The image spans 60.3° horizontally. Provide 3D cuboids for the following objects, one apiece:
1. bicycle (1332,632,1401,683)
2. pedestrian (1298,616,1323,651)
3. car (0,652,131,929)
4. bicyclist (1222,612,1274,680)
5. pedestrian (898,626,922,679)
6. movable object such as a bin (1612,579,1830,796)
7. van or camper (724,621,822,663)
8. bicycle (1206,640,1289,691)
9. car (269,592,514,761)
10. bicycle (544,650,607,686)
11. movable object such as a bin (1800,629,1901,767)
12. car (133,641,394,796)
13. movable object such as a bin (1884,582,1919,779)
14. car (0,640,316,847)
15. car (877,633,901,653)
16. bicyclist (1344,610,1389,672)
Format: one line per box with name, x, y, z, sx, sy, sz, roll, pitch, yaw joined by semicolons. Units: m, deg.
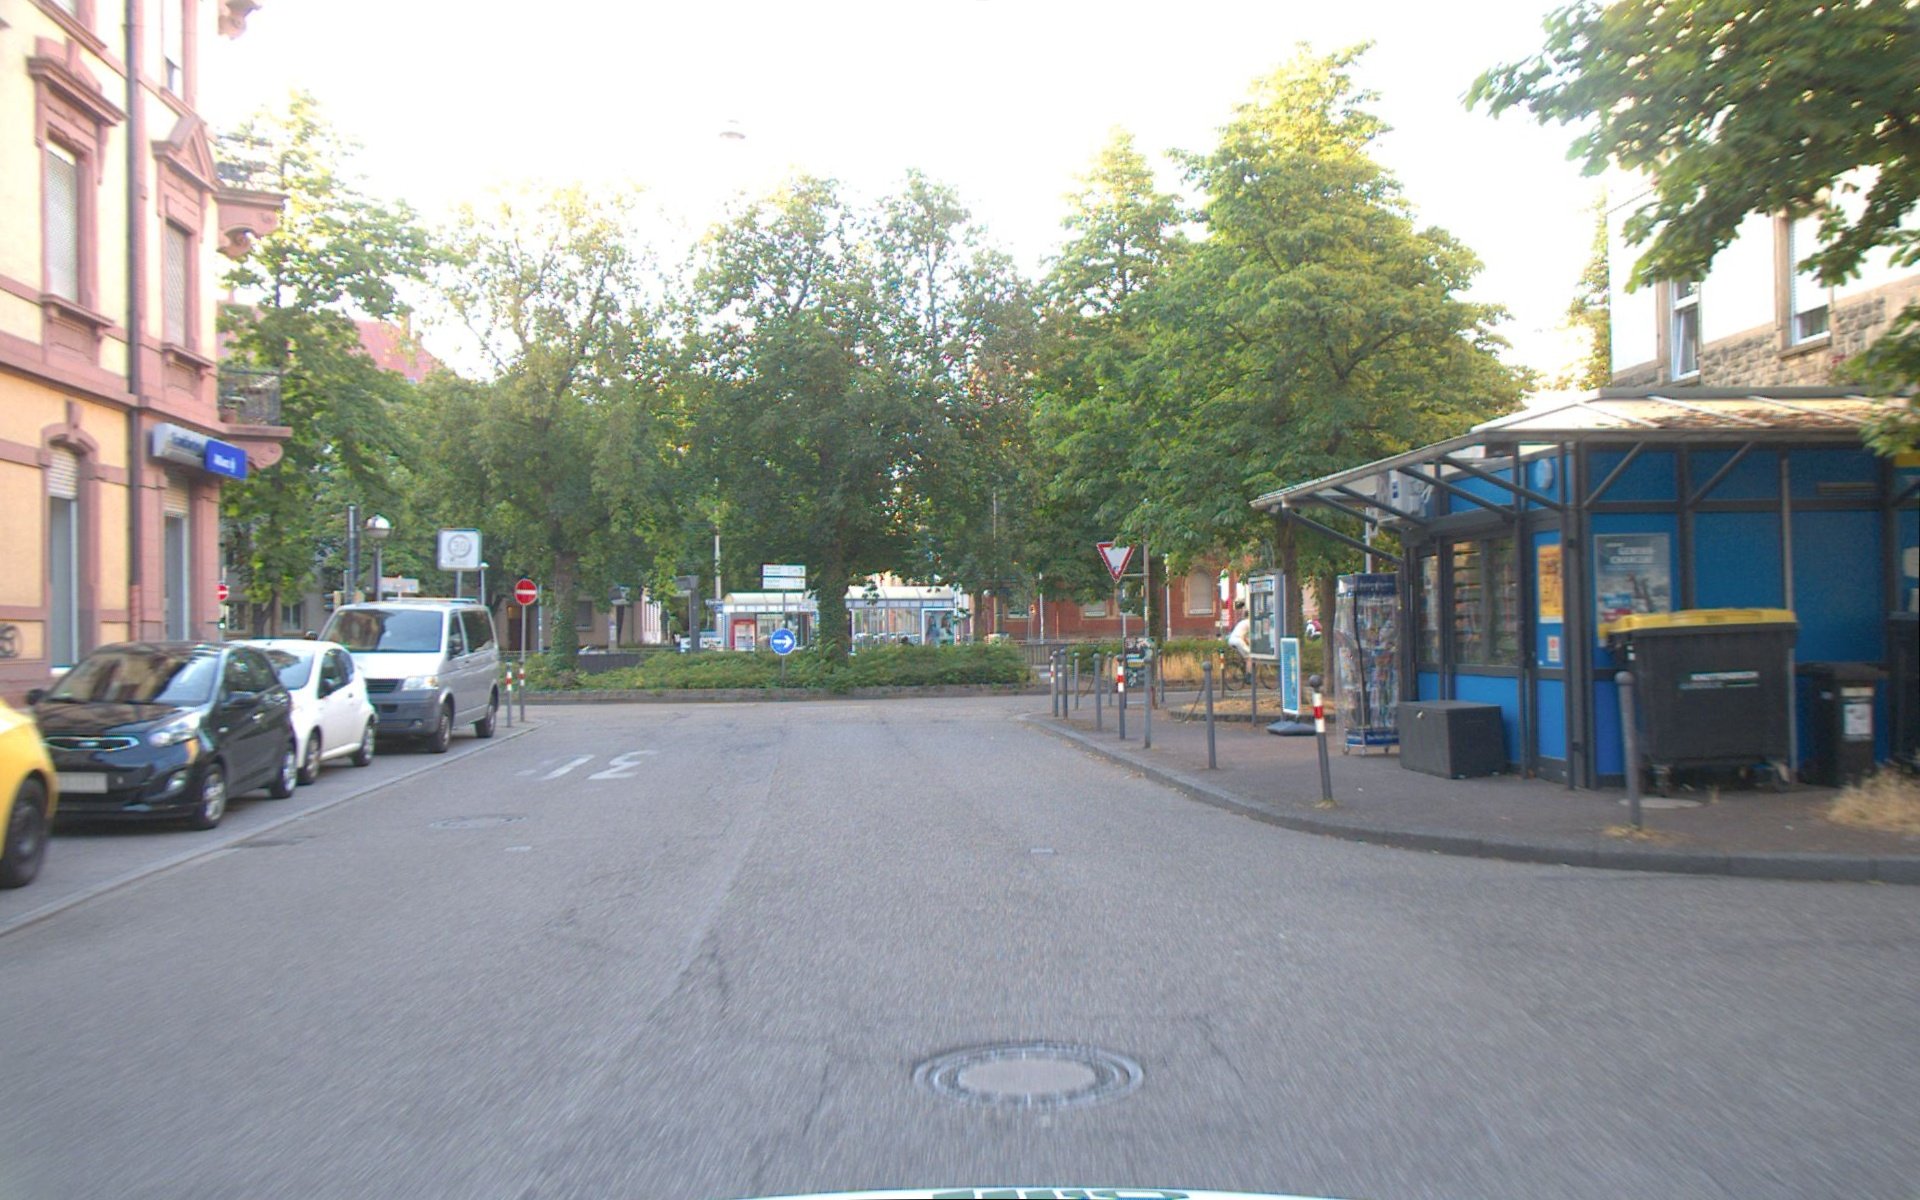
bicycle;9.314;1.309;37.901;0.697;1.089;1.822;-2;-1;44
pedestrian;15.788;1.512;74.539;0.849;1.553;0.714;-2;-2;33
car;-6.349;1.098;8.949;1.804;1.552;4.793;1;-1;-7
bicyclist;6.624;1.057;38.086;0.905;1.529;0.703;-1;-1;-26
pedestrian;-1.386;1.451;45.787;0.604;1.456;0.655;-1;-1;-4
movable object such as a bin;5.718;0.648;12.492;1.196;1.501;0.766;-4;-1;4
van or camper;-14.134;3.143;124.911;7.230;3.137;2.667;0;-2;-10
bicycle;6.625;1.493;38.073;1.806;1.089;0.703;-1;-1;-27
car;-7.704;0.999;22.981;2.001;2.093;4.999;0;-1;-5
bicycle;-11.964;2.106;51.493;1.828;1.070;0.541;-1;-1;-27
movable object such as a bin;6.835;0.741;12.711;0.470;1.019;0.487;-1;-1;-4
car;-7.549;1.225;18.286;1.651;1.517;3.608;0;-1;-6
movable object such as a bin;7.953;0.636;12.674;1.254;1.501;0.820;2;-1;4
car;-6.871;1.113;14.216;1.697;1.517;3.734;0;-1;-9
car;-6.489;3.931;150.945;1.955;1.734;4.713;0;-2;-6
bicyclist;9.314;0.943;37.919;0.697;1.382;0.733;-2;-1;44
